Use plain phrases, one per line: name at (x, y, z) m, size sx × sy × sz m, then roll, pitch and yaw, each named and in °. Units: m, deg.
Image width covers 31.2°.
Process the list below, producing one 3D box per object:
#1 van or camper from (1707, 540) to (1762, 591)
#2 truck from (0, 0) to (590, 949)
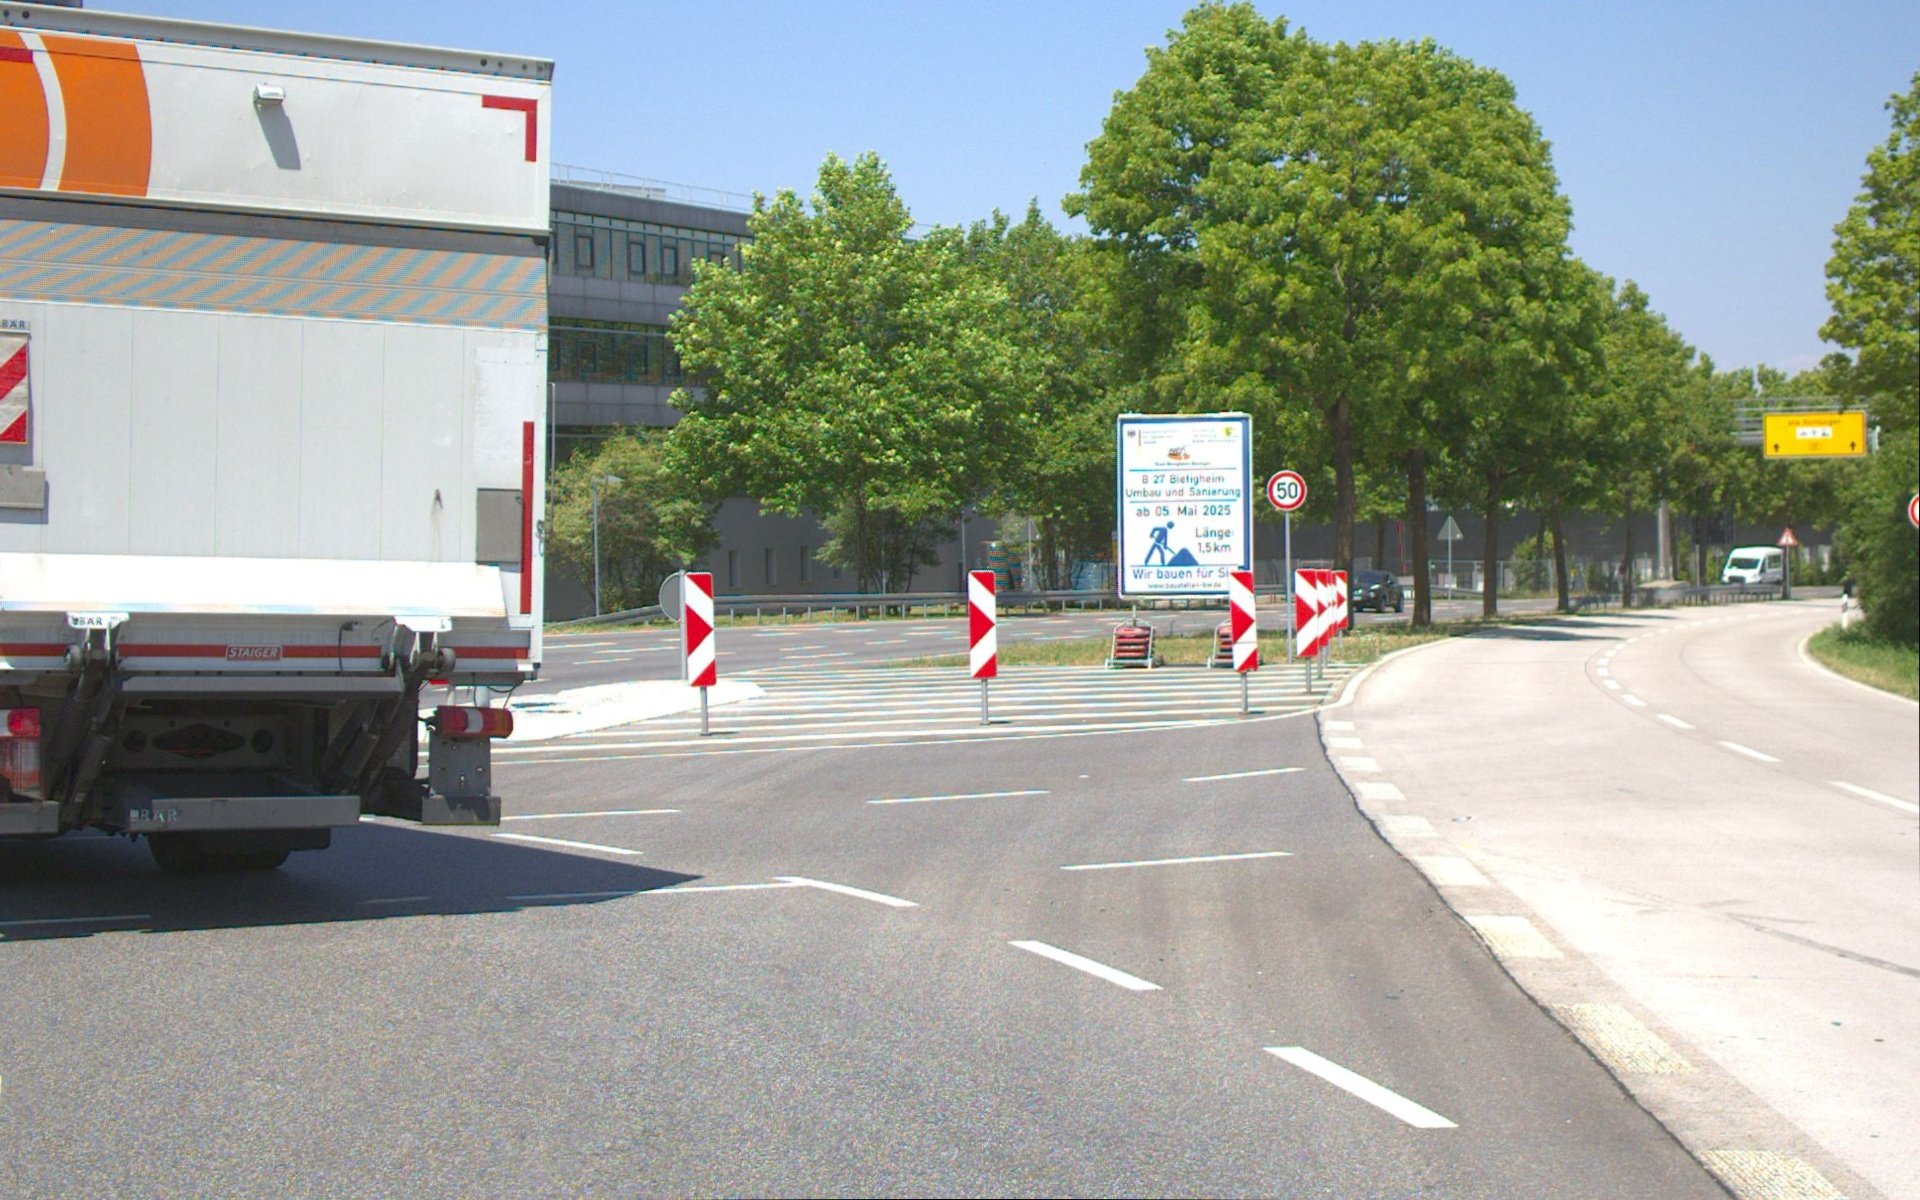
van or camper at (41.659, -1.850, 184.827) m, size 1.996 × 2.673 × 3.994 m, roll 1°, pitch 0°, yaw 26°
truck at (-5.115, -0.667, 17.561) m, size 2.769 × 3.846 × 9.371 m, roll 0°, pitch 1°, yaw -31°
